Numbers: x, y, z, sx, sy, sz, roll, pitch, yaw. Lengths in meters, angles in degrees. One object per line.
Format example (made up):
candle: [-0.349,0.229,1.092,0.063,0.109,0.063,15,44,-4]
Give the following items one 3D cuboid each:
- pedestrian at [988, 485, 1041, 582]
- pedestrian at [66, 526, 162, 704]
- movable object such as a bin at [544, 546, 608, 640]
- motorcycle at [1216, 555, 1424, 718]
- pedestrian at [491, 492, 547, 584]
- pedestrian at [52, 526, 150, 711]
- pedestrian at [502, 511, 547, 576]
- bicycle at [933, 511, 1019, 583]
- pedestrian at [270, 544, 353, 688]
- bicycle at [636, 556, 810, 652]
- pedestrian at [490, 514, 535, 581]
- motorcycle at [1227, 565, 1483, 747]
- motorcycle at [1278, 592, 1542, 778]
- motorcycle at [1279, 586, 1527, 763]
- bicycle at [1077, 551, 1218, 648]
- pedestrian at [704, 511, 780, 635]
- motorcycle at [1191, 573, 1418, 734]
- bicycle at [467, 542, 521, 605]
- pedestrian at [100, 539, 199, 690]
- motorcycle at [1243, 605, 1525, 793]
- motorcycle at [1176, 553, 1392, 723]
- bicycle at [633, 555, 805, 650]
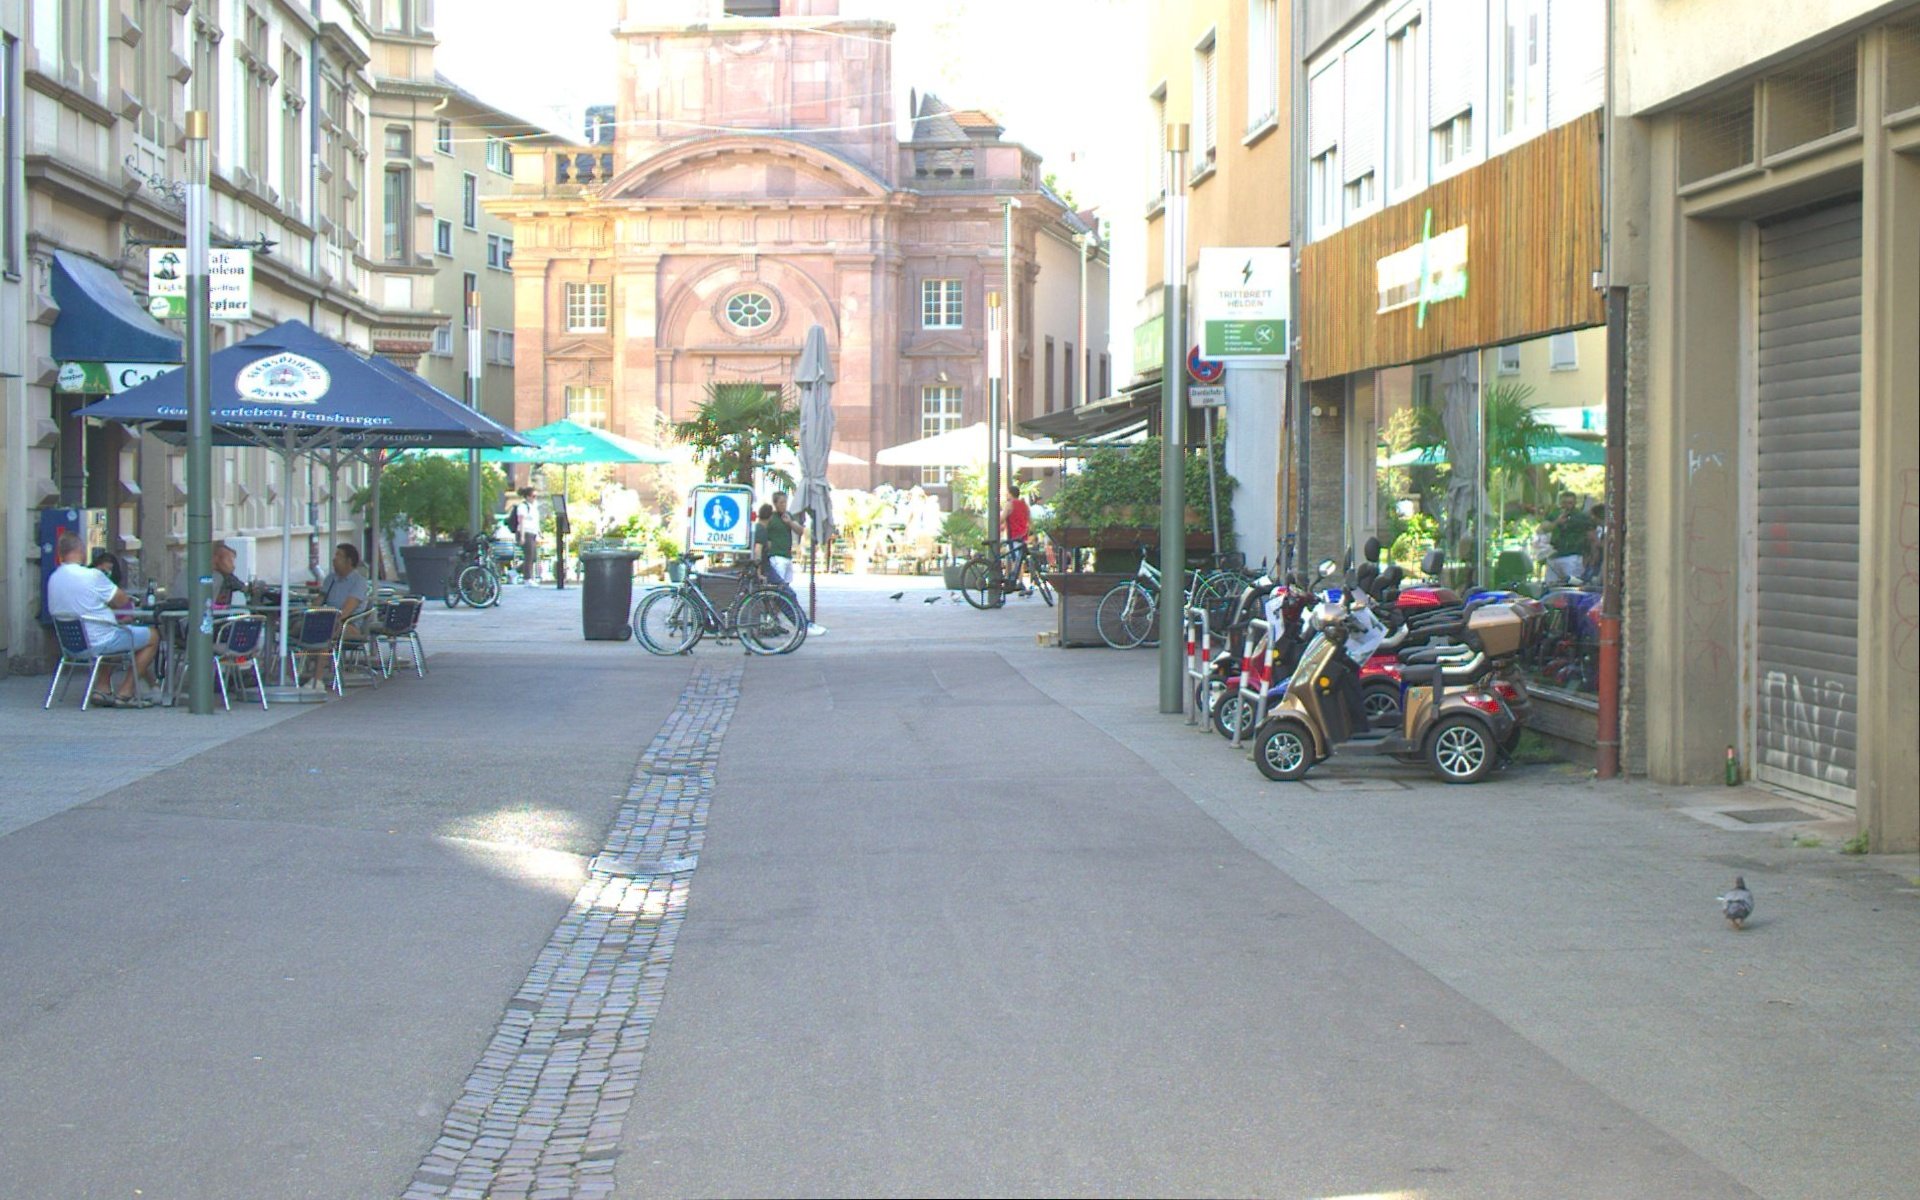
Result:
pedestrian: [0.931,-1.140,58.762,0.611,1.635,0.657,-1,2,-42]
pedestrian: [-6.628,0.109,26.921,0.717,1.363,0.710,0,2,-15]
movable object such as a bin: [-4.419,-0.081,39.571,0.721,1.071,0.374,0,1,-4]
motorcycle: [2.657,0.260,25.353,1.484,1.177,0.412,0,1,12]
pedestrian: [-7.450,-1.053,58.119,0.784,1.550,0.535,1,2,18]
pedestrian: [-6.479,0.127,25.908,0.707,1.363,0.720,0,2,-15]
pedestrian: [-8.111,-1.057,64.040,0.700,1.213,0.719,0,1,3]
bicycle: [0.292,-0.964,62.297,1.586,1.303,0.366,-1,2,-32]
pedestrian: [-5.549,0.133,29.420,0.692,1.211,0.583,0,2,-11]
bicycle: [-2.518,0.044,36.460,1.823,1.001,0.381,0,1,-6]
pedestrian: [-8.143,-0.957,62.608,0.700,1.213,0.719,0,1,3]
motorcycle: [2.601,0.355,22.624,1.626,1.171,0.480,0,1,15]
motorcycle: [2.672,0.496,20.410,1.517,1.072,0.412,0,1,15]
motorcycle: [2.754,0.455,21.370,1.485,1.072,0.412,0,1,15]
bicycle: [1.977,-0.011,36.212,1.463,1.001,0.573,1,1,4]
pedestrian: [-2.589,-0.332,40.934,0.883,1.459,0.731,0,1,-2]
motorcycle: [2.338,0.355,23.330,1.485,1.072,0.412,0,1,15]
bicycle: [-6.592,-0.380,48.681,0.456,0.847,2.146,0,2,1]
pedestrian: [-6.740,0.111,28.605,0.764,1.229,0.831,0,2,-11]
motorcycle: [2.424,0.556,19.646,1.565,1.038,0.372,0,1,15]
motorcycle: [2.296,0.262,24.333,1.484,1.177,0.412,0,1,12]
bicycle: [-2.584,0.028,36.860,1.823,1.001,0.381,0,1,-6]
